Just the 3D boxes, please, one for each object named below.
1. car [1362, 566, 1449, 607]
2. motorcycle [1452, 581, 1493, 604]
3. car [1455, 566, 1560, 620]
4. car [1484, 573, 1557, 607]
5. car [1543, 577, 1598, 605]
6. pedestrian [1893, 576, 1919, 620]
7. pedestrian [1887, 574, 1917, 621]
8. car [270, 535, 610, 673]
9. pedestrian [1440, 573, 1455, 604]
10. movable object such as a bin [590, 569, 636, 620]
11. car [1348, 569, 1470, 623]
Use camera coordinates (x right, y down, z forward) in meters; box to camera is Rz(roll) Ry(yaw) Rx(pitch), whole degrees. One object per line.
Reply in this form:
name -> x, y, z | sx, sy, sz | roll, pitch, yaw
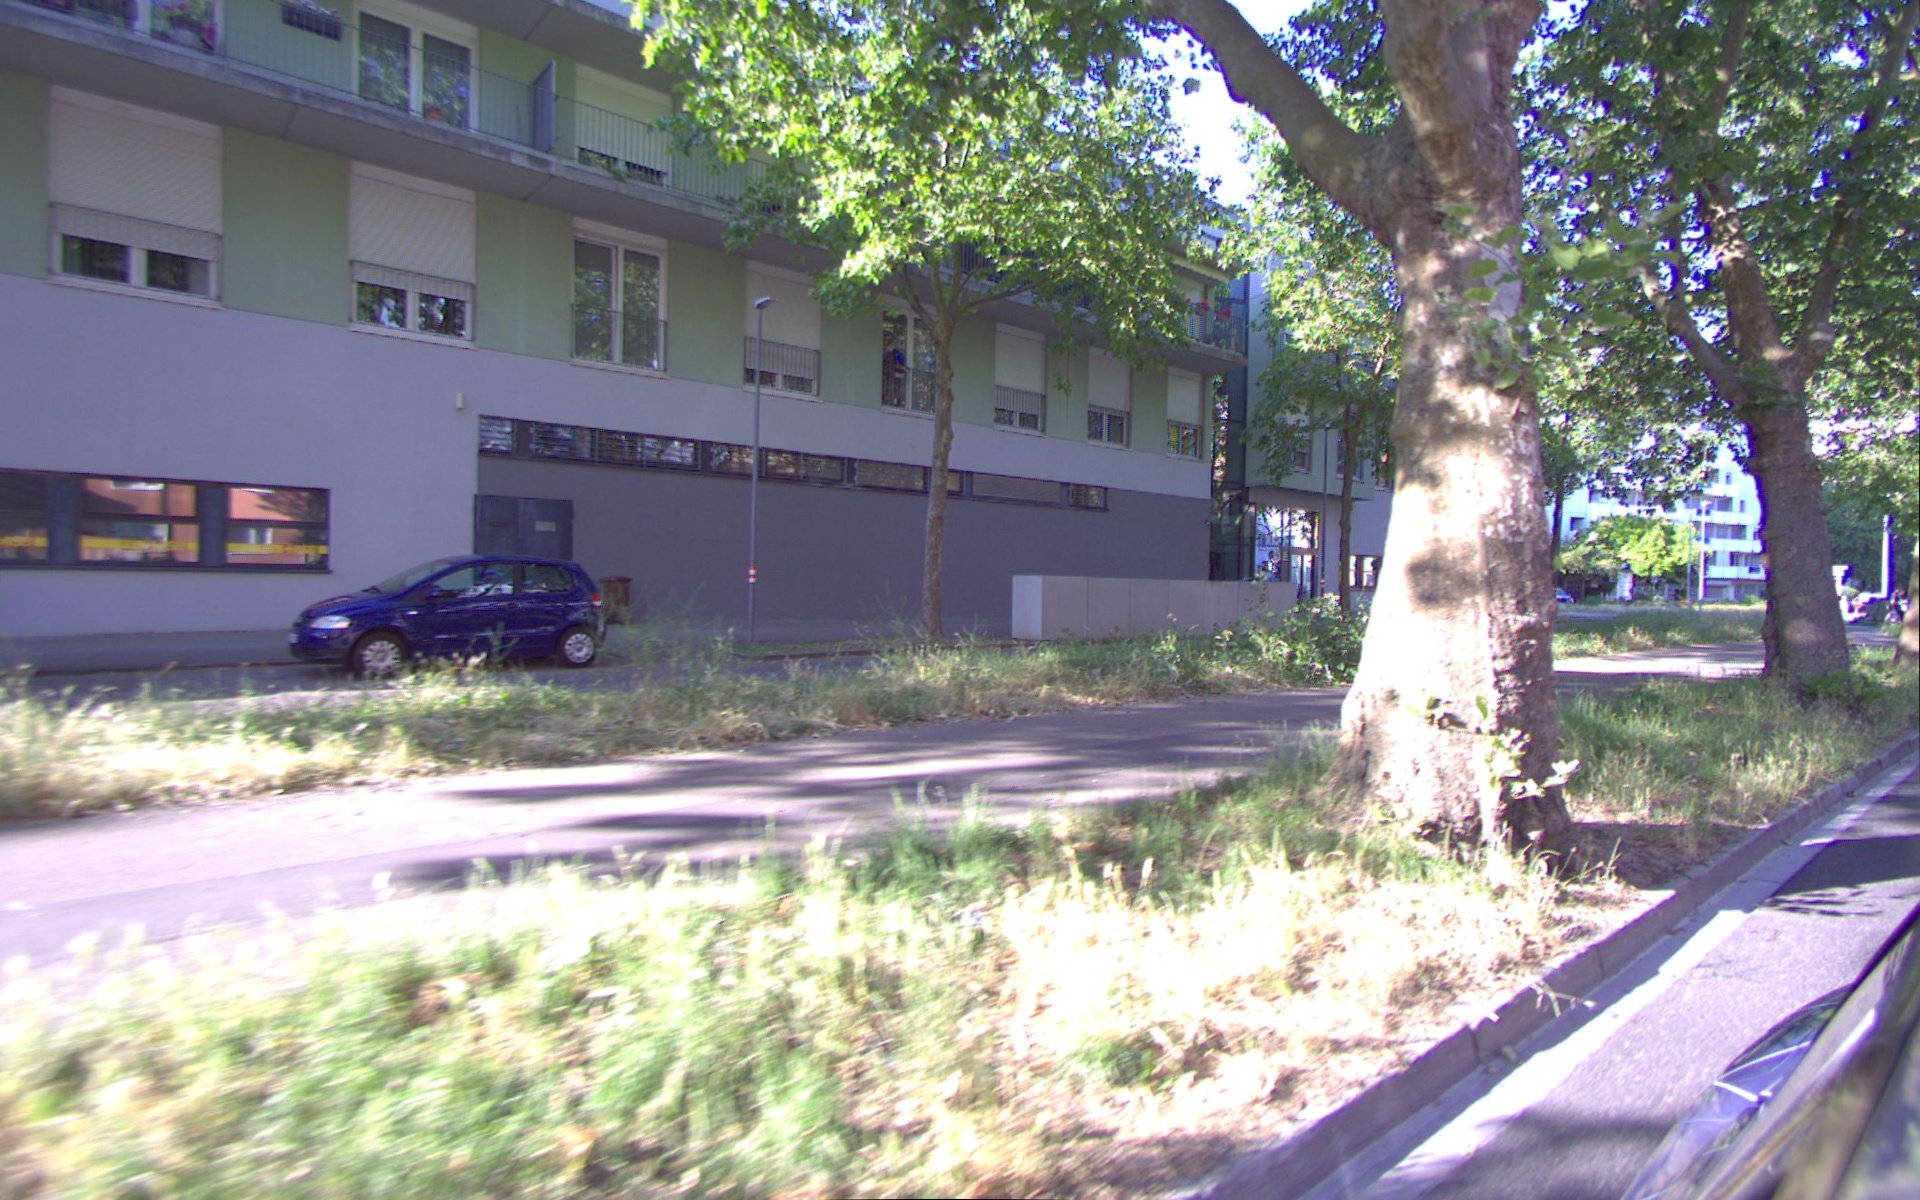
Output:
car -> 27.644, -0.830, 62.772 | 4.946, 2.123, 2.005 | 4, 0, -24
motorcycle -> 29.712, -0.414, 58.644 | 2.269, 1.263, 0.953 | 0, 1, -28
car -> 19.707, -0.257, 36.367 | 4.244, 1.793, 1.908 | 0, 2, -41
car -> 31.029, -0.549, 56.028 | 3.906, 1.542, 1.678 | 4, 0, -29
car -> 41.594, -0.556, 69.053 | 1.910, 1.680, 4.457 | 4, 0, 14
pedestrian -> 41.247, -0.095, 44.098 | 0.782, 1.903, 0.791 | 2, 1, 41
pedestrian -> 40.514, -0.108, 43.525 | 0.835, 1.956, 0.771 | 2, 1, 40
car -> -6.822, 0.011, 13.439 | 3.693, 1.572, 1.863 | 0, 2, -41
pedestrian -> 28.364, -0.683, 58.901 | 0.521, 1.773, 0.561 | -1, 1, -29
movable object such as a bin -> -6.774, -0.109, 19.768 | 0.651, 0.954, 0.630 | 0, 2, -40
car -> 14.150, -0.143, 31.785 | 4.244, 1.562, 1.863 | 0, 2, -41
